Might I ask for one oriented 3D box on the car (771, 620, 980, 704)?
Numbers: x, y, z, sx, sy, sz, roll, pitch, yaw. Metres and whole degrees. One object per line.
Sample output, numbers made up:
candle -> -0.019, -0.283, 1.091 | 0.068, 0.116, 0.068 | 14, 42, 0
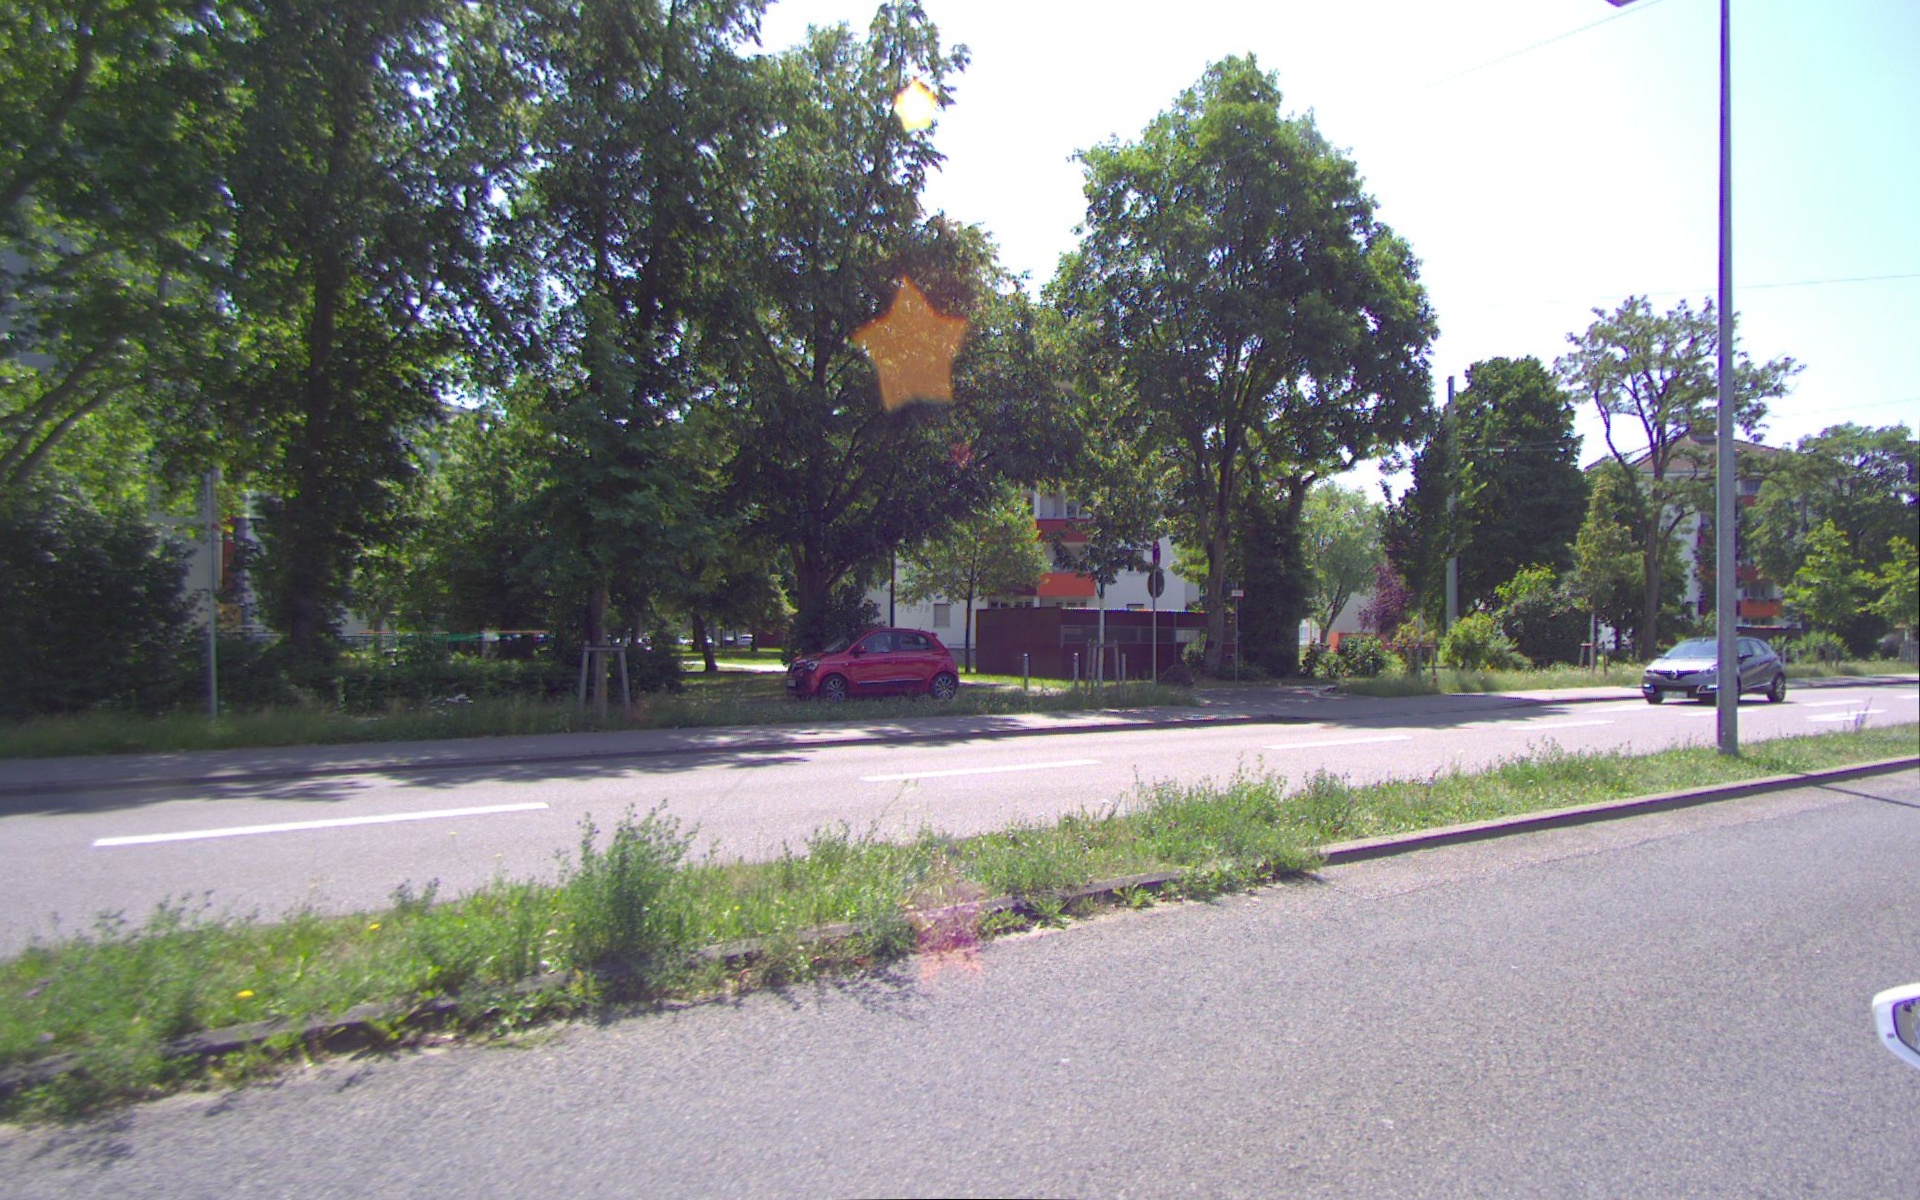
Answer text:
car -> -1.770, 1.262, 21.132 | 3.951, 1.606, 1.985 | 1, -2, -29

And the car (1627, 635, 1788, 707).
car -> 17.798, 1.677, 23.876 | 4.040, 1.574, 1.758 | 3, -4, -33
